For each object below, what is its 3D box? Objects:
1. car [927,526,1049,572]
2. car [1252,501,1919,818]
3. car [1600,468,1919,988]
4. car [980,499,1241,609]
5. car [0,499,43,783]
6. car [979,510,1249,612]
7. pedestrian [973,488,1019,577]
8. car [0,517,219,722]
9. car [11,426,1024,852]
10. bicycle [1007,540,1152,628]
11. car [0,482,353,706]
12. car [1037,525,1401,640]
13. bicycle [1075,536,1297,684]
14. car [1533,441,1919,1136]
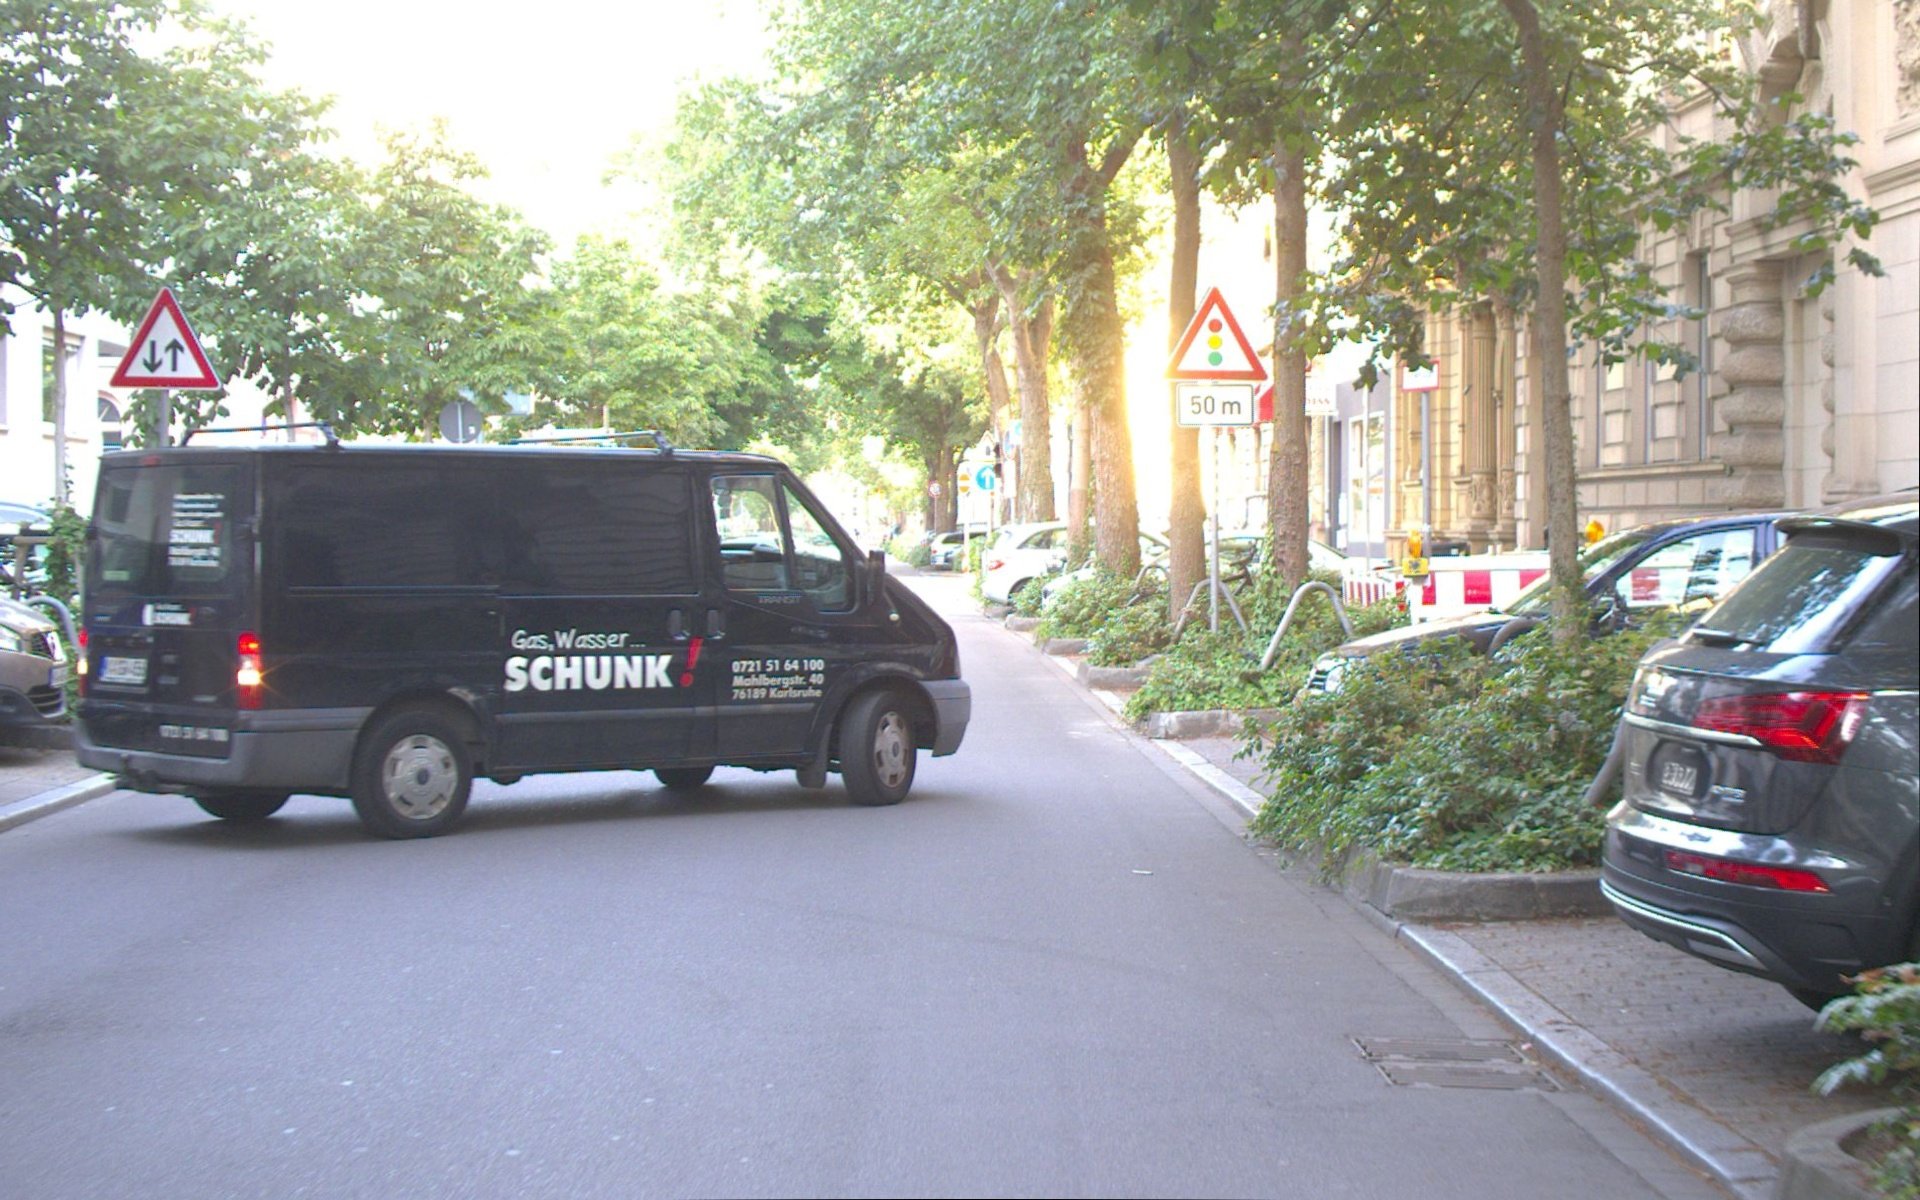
[{"bbox_3d":[0.984,-1.805,121.046,4.192,1.475,1.852,-1,1,-1],"label":"car"},{"bbox_3d":[3.821,0.269,18.623,4.223,1.476,1.855,-3,1,-1],"label":"car"},{"bbox_3d":[4.425,0.375,12.047,4.007,1.681,1.765,0,2,-1],"label":"car"},{"bbox_3d":[2.707,-0.852,62.485,4.539,1.908,1.951,-1,1,-4],"label":"car"},{"bbox_3d":[-7.445,0.128,18.693,4.354,1.567,1.931,3,1,-1],"label":"car"},{"bbox_3d":[2.440,-0.632,54.867,4.225,1.555,1.971,-1,2,2],"label":"car"},{"bbox_3d":[0.883,-1.653,84.469,1.043,2.139,1.063,1,0,-1],"label":"pedestrian"},{"bbox_3d":[-7.786,0.100,26.287,3.845,1.446,1.855,1,2,-1],"label":"car"},{"bbox_3d":[-2.266,0.118,18.441,4.992,1.984,2.189,-1,2,-40],"label":"car"},{"bbox_3d":[1.739,-0.237,50.047,2.019,1.200,0.488,-2,1,-14],"label":"bicycle"},{"bbox_3d":[-7.621,-0.094,28.924,4.665,1.759,2.157,1,1,-2],"label":"car"},{"bbox_3d":[3.304,-0.245,44.609,4.583,1.432,1.925,0,1,0],"label":"car"},{"bbox_3d":[2.165,0.094,33.038,2.046,1.356,0.508,1,1,-3],"label":"bicycle"},{"bbox_3d":[4.009,0.416,9.561,4.439,1.712,1.968,-1,1,-1],"label":"car"}]
